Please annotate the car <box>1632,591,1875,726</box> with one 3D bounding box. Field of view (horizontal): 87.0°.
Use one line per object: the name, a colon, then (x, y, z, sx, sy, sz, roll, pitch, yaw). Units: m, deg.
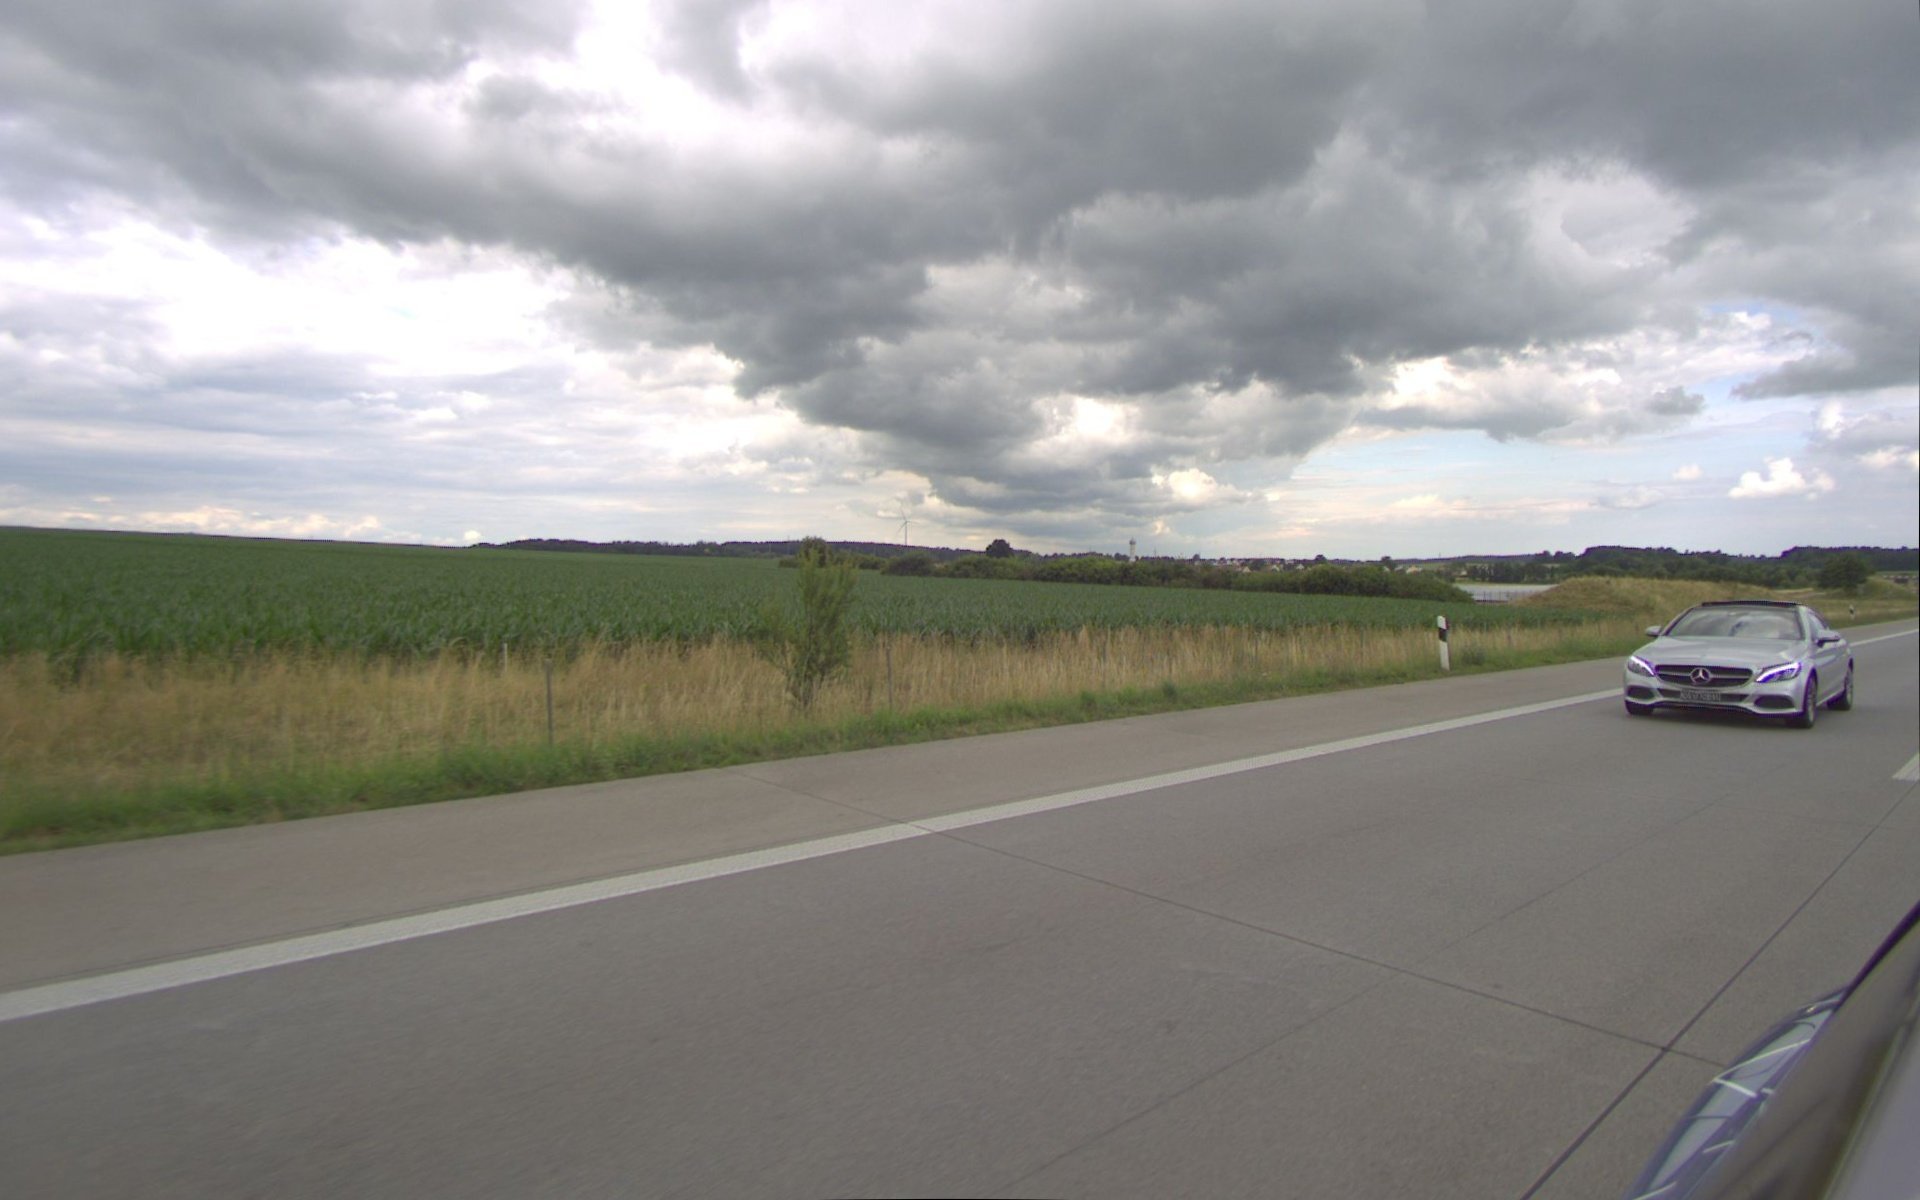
car: (10.239, 0.608, 12.951, 4.149, 1.421, 1.791, -1, 1, -42)
